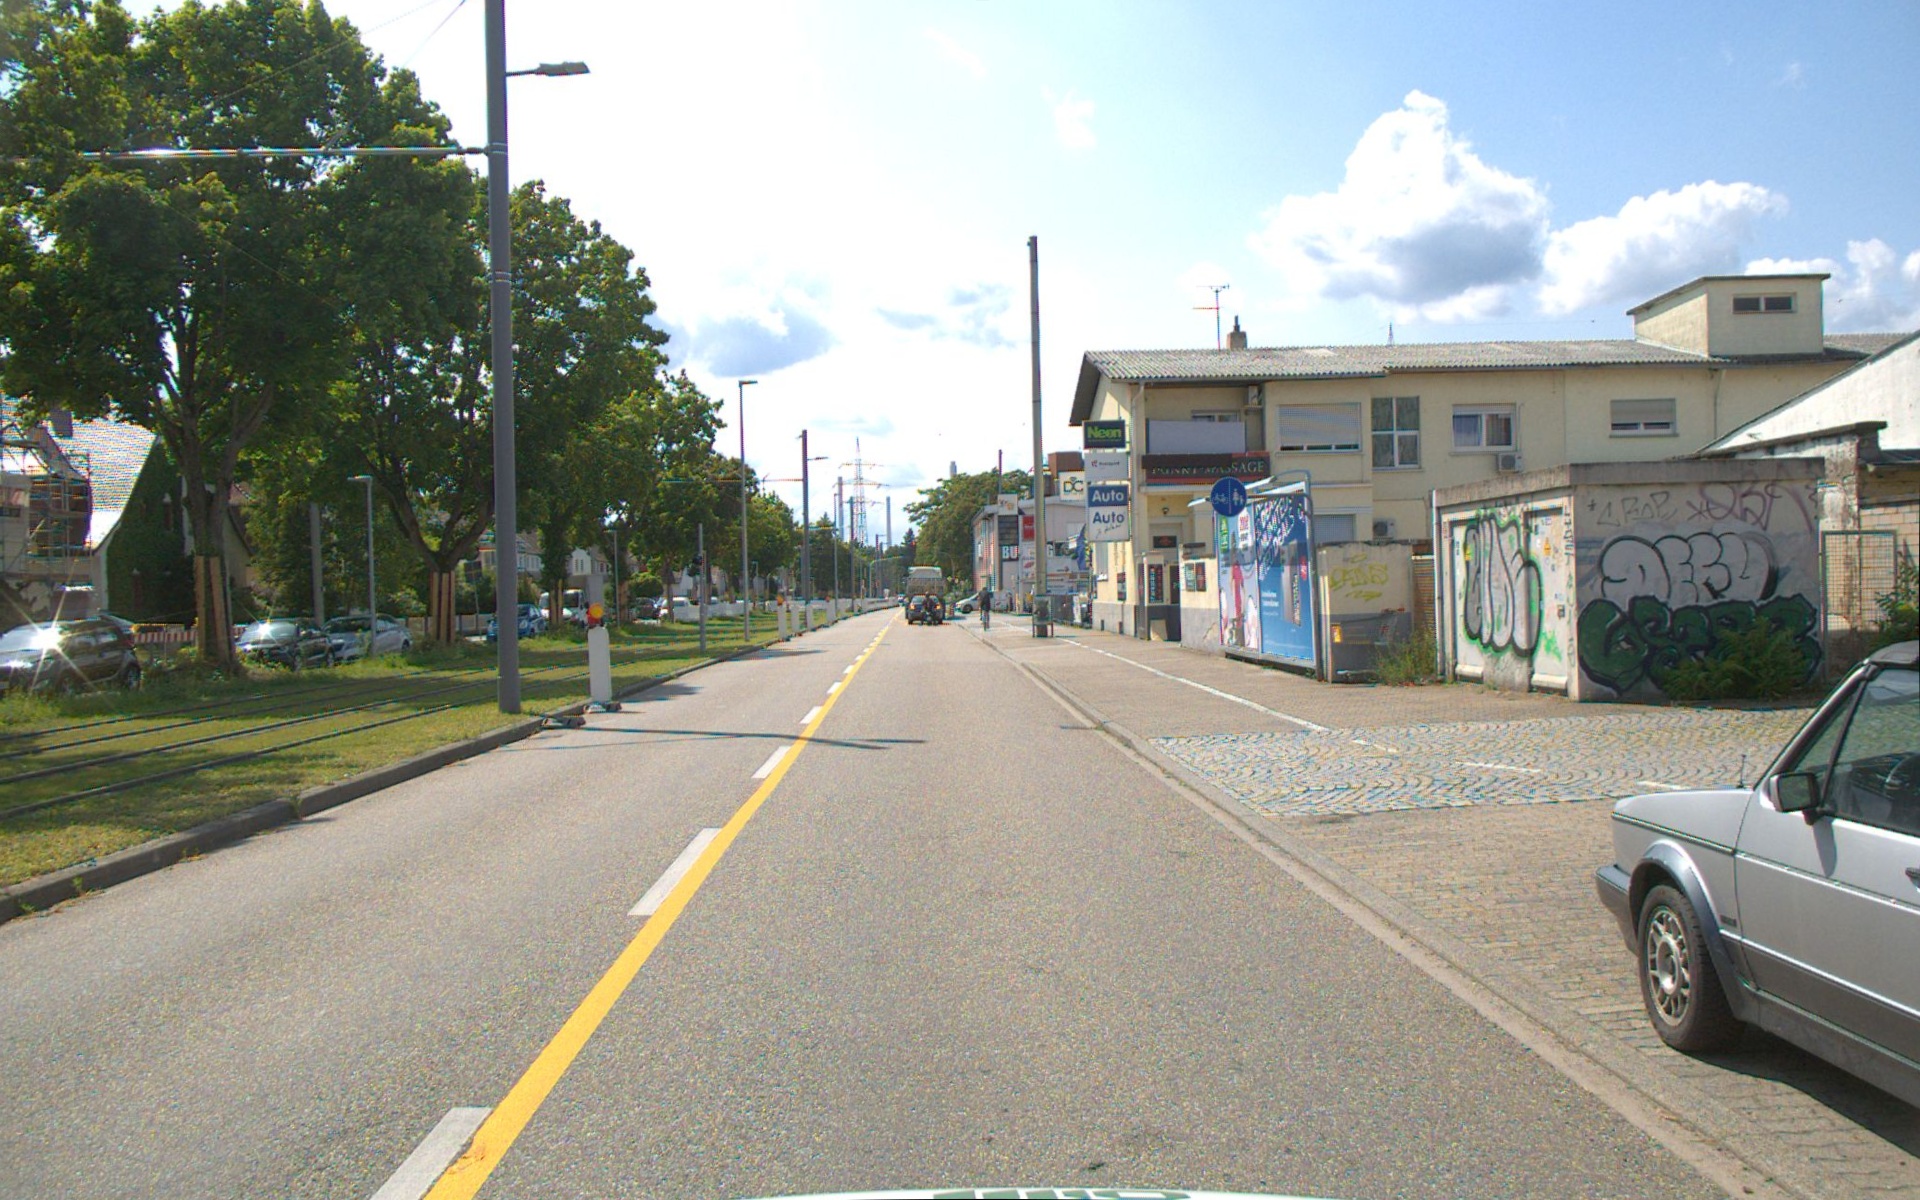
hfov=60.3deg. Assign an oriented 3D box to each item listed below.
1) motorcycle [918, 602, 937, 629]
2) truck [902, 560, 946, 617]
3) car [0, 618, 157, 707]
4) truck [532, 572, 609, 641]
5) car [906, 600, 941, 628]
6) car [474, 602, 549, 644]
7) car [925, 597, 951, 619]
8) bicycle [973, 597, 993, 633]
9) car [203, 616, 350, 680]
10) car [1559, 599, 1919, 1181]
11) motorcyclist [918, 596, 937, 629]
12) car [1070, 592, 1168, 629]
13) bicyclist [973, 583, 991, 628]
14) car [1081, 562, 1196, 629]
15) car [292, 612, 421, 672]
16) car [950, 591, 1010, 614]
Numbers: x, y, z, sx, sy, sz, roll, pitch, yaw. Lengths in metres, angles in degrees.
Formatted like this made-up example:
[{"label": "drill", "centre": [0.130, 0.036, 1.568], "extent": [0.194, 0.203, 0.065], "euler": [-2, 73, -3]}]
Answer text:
[{"label": "motorcycle", "centre": [-1.637, 0.769, 82.770], "extent": [0.920, 1.343, 2.644], "euler": [1, 0, -1]}, {"label": "truck", "centre": [-2.209, -0.746, 103.349], "extent": [2.557, 3.312, 9.181], "euler": [-2, 1, -1]}, {"label": "car", "centre": [-16.384, 1.103, 29.780], "extent": [1.953, 1.464, 3.998], "euler": [-3, -1, -2]}, {"label": "truck", "centre": [-17.377, 0.273, 74.118], "extent": [1.954, 2.815, 6.274], "euler": [-4, 0, -2]}, {"label": "car", "centre": [-1.914, 0.723, 87.107], "extent": [1.785, 1.449, 3.999], "euler": [0, 0, -1]}, {"label": "car", "centre": [-17.060, 0.880, 63.081], "extent": [1.954, 1.478, 3.997], "euler": [-2, -1, -3]}, {"label": "car", "centre": [-1.572, 0.577, 116.448], "extent": [1.784, 1.489, 3.999], "euler": [0, 0, -1]}, {"label": "bicycle", "centre": [0.910, 0.588, 66.343], "extent": [0.679, 1.385, 2.417], "euler": [-1, 0, -2]}, {"label": "car", "centre": [-16.438, 1.124, 39.974], "extent": [1.954, 1.340, 3.851], "euler": [-4, -1, -2]}, {"label": "car", "centre": [3.219, 0.722, 4.503], "extent": [1.618, 1.456, 4.096], "euler": [-2, -1, -1]}, {"label": "motorcyclist", "centre": [-1.627, 0.612, 82.591], "extent": [0.920, 1.643, 1.204], "euler": [1, -1, -2]}, {"label": "car", "centre": [6.827, 0.444, 71.107], "extent": [4.095, 1.456, 1.821], "euler": [-1, -1, 5]}, {"label": "bicyclist", "centre": [0.877, 0.214, 66.364], "extent": [0.657, 1.774, 0.813], "euler": [-1, 0, -2]}, {"label": "car", "centre": [7.332, -0.177, 68.260], "extent": [4.444, 2.618, 2.151], "euler": [-1, -1, 0]}, {"label": "car", "centre": [-16.551, 1.110, 45.625], "extent": [1.768, 1.508, 4.938], "euler": [-2, -1, -1]}, {"label": "car", "centre": [1.516, 0.222, 124.835], "extent": [4.251, 1.579, 1.945], "euler": [-2, -1, -10]}]
